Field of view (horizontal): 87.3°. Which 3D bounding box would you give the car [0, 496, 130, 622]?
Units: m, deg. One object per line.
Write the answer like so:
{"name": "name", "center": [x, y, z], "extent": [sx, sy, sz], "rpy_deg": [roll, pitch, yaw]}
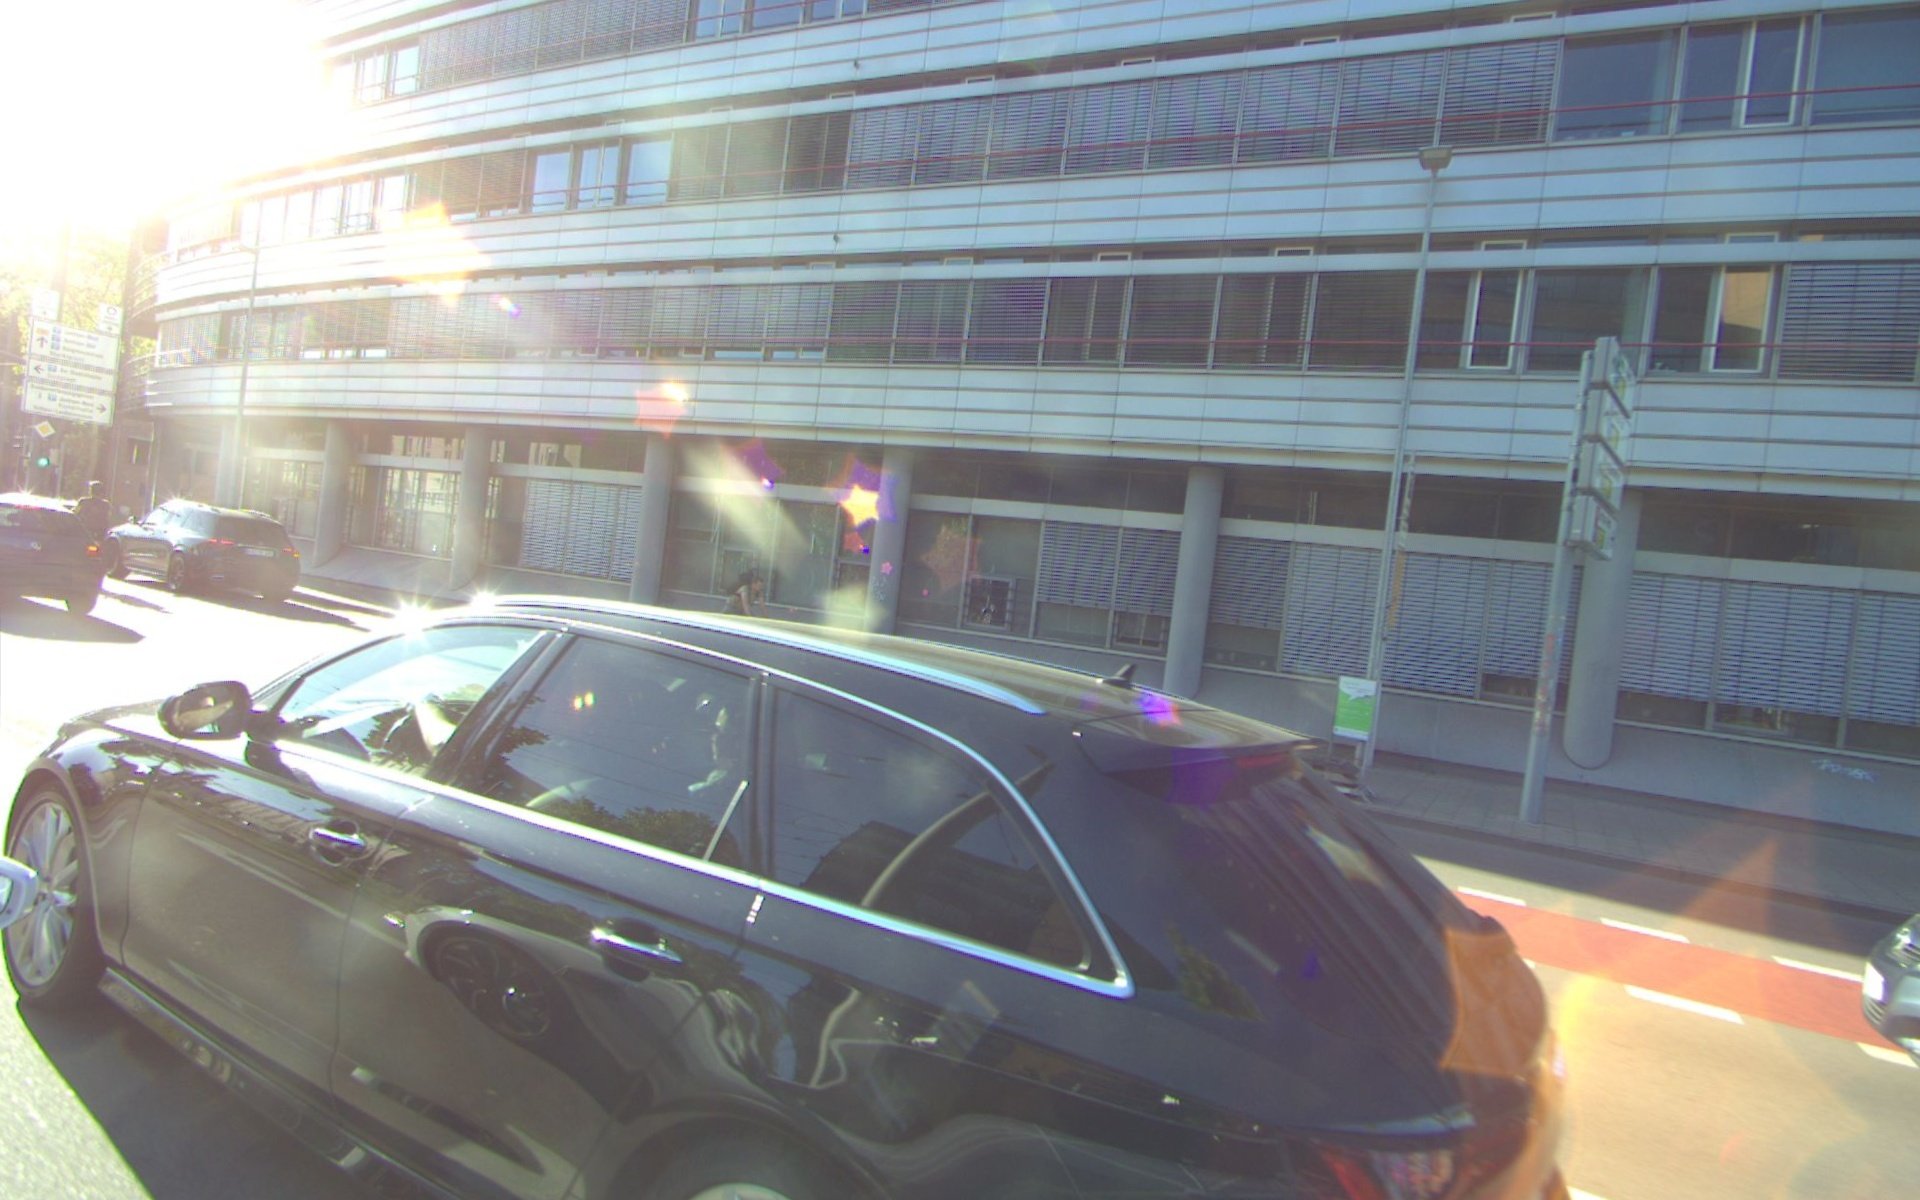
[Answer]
{"name": "car", "center": [-13.448, -0.719, 13.832], "extent": [3.933, 1.474, 1.811], "rpy_deg": [7, -1, 31]}

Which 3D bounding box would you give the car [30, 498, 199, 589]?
{"name": "car", "center": [-20.181, -1.369, 23.980], "extent": [3.936, 1.671, 1.995], "rpy_deg": [7, 0, 34]}

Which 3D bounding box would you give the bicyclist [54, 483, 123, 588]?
{"name": "bicyclist", "center": [-15.931, -1.175, 18.395], "extent": [0.849, 1.813, 0.578], "rpy_deg": [7, 1, 30]}

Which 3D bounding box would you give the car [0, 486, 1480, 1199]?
{"name": "car", "center": [-1.084, 0.684, 2.993], "extent": [4.422, 1.509, 1.815], "rpy_deg": [7, -2, 32]}

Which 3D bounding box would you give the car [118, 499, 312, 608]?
{"name": "car", "center": [-15.659, -0.995, 21.084], "extent": [4.262, 1.771, 1.994], "rpy_deg": [7, 0, 36]}

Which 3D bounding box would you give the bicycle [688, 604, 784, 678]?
{"name": "bicycle", "center": [-3.884, 0.696, 17.385], "extent": [1.673, 1.072, 0.504], "rpy_deg": [6, 2, 31]}

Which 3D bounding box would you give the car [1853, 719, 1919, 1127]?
{"name": "car", "center": [6.172, 1.593, 3.441], "extent": [4.396, 1.649, 1.687], "rpy_deg": [7, 0, 38]}

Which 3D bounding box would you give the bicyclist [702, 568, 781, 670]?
{"name": "bicyclist", "center": [-3.797, 0.336, 17.519], "extent": [0.974, 1.638, 0.685], "rpy_deg": [7, 1, 31]}

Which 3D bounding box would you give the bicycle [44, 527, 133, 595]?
{"name": "bicycle", "center": [-15.933, -0.729, 18.372], "extent": [2.289, 1.010, 0.492], "rpy_deg": [7, 1, 31]}
